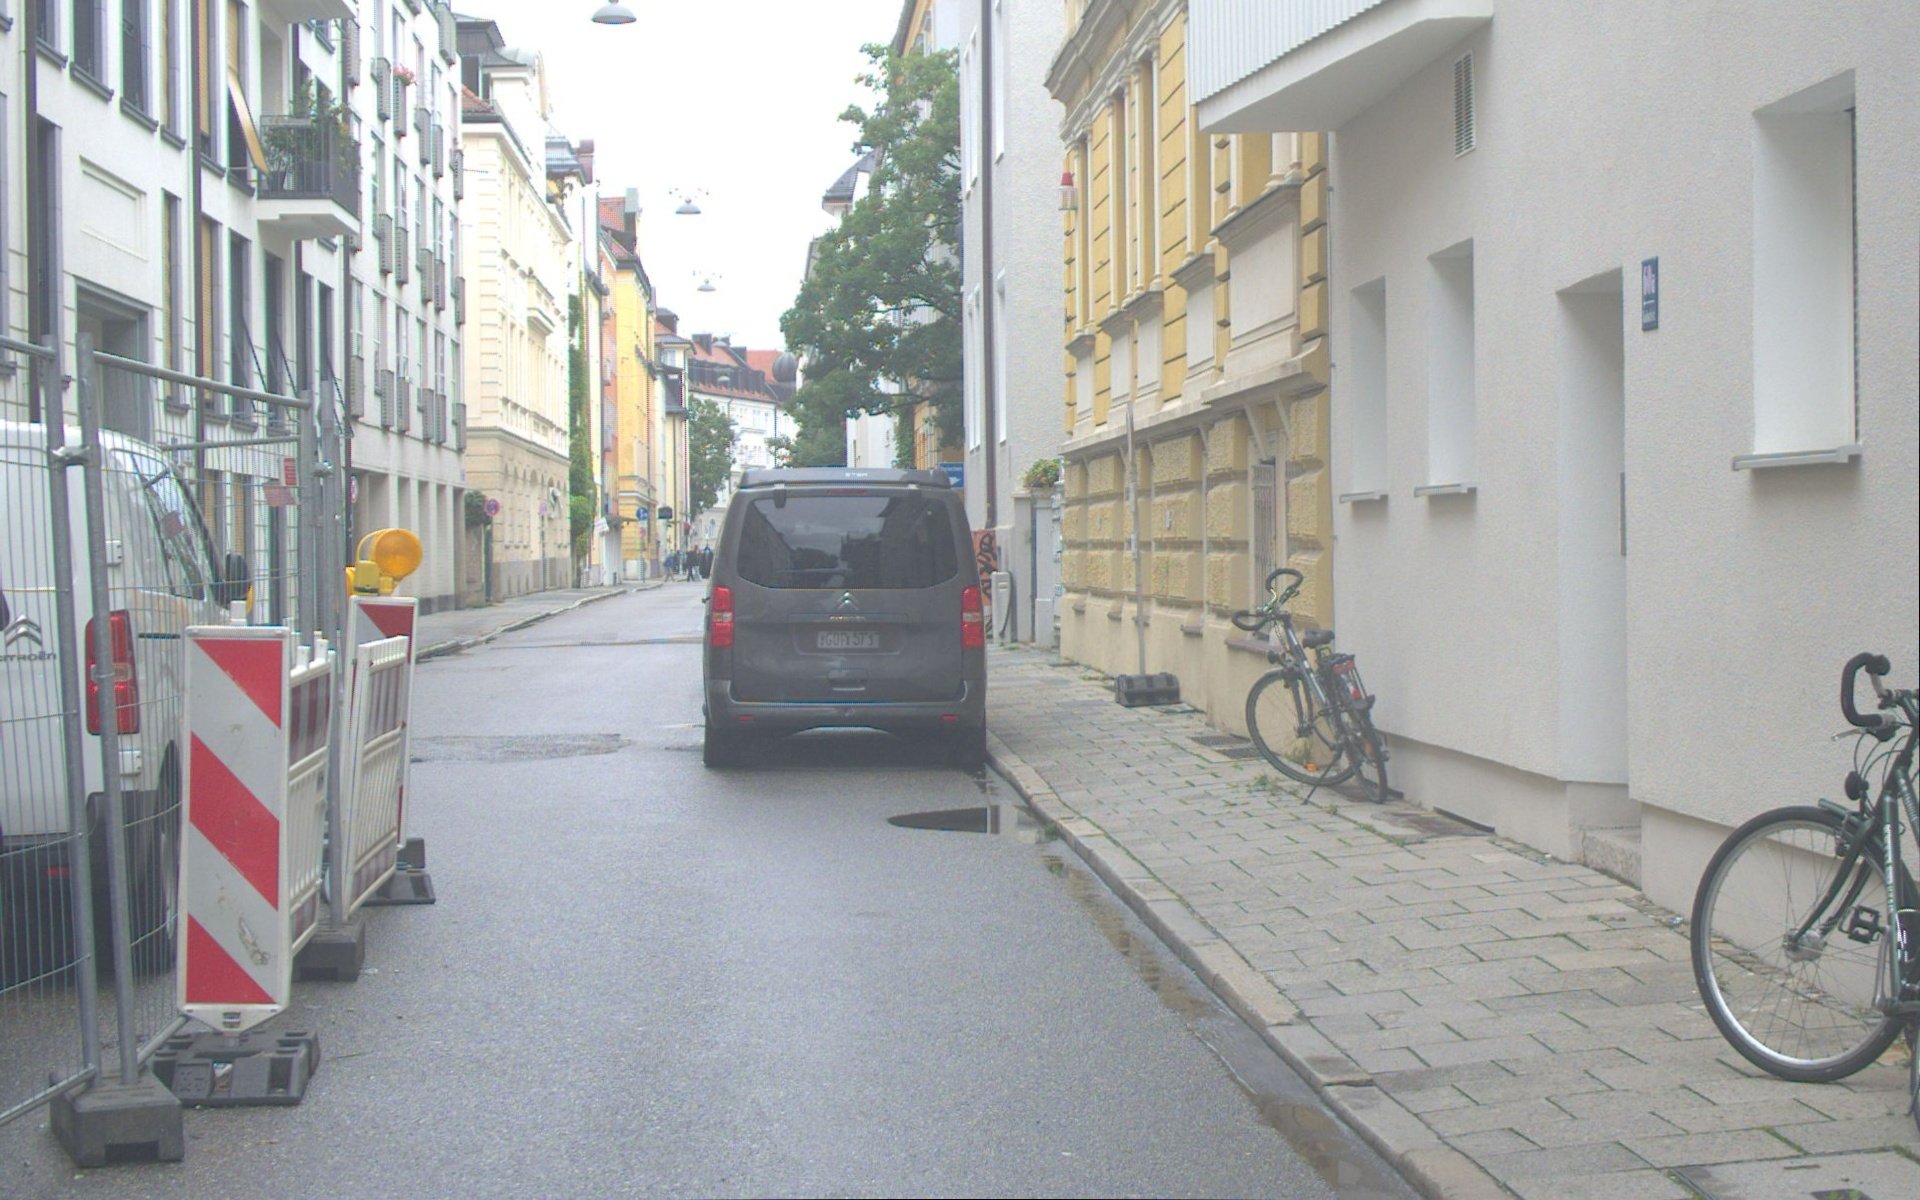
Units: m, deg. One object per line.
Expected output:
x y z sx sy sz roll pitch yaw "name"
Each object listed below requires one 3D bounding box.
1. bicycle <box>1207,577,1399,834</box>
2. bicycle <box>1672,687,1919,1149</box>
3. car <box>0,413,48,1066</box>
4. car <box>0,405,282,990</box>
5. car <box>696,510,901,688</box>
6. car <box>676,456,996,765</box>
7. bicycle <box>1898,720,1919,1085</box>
1.709 0.500 17.395 0.638 1.149 1.915 -3 2 -3 "bicycle"
2.233 0.740 8.410 0.404 0.988 1.329 -4 1 -12 "bicycle"
-3.530 0.457 7.748 1.727 1.891 5.509 -2 1 -3 "car"
-3.859 0.285 13.581 1.904 1.891 5.090 0 1 -7 "car"
-1.650 -0.055 34.158 1.894 1.635 4.322 -1 1 -4 "car"
-0.941 0.023 24.092 1.993 1.925 4.661 1 1 -4 "car"
2.174 0.782 7.065 0.281 0.988 1.433 -4 1 10 "bicycle"
